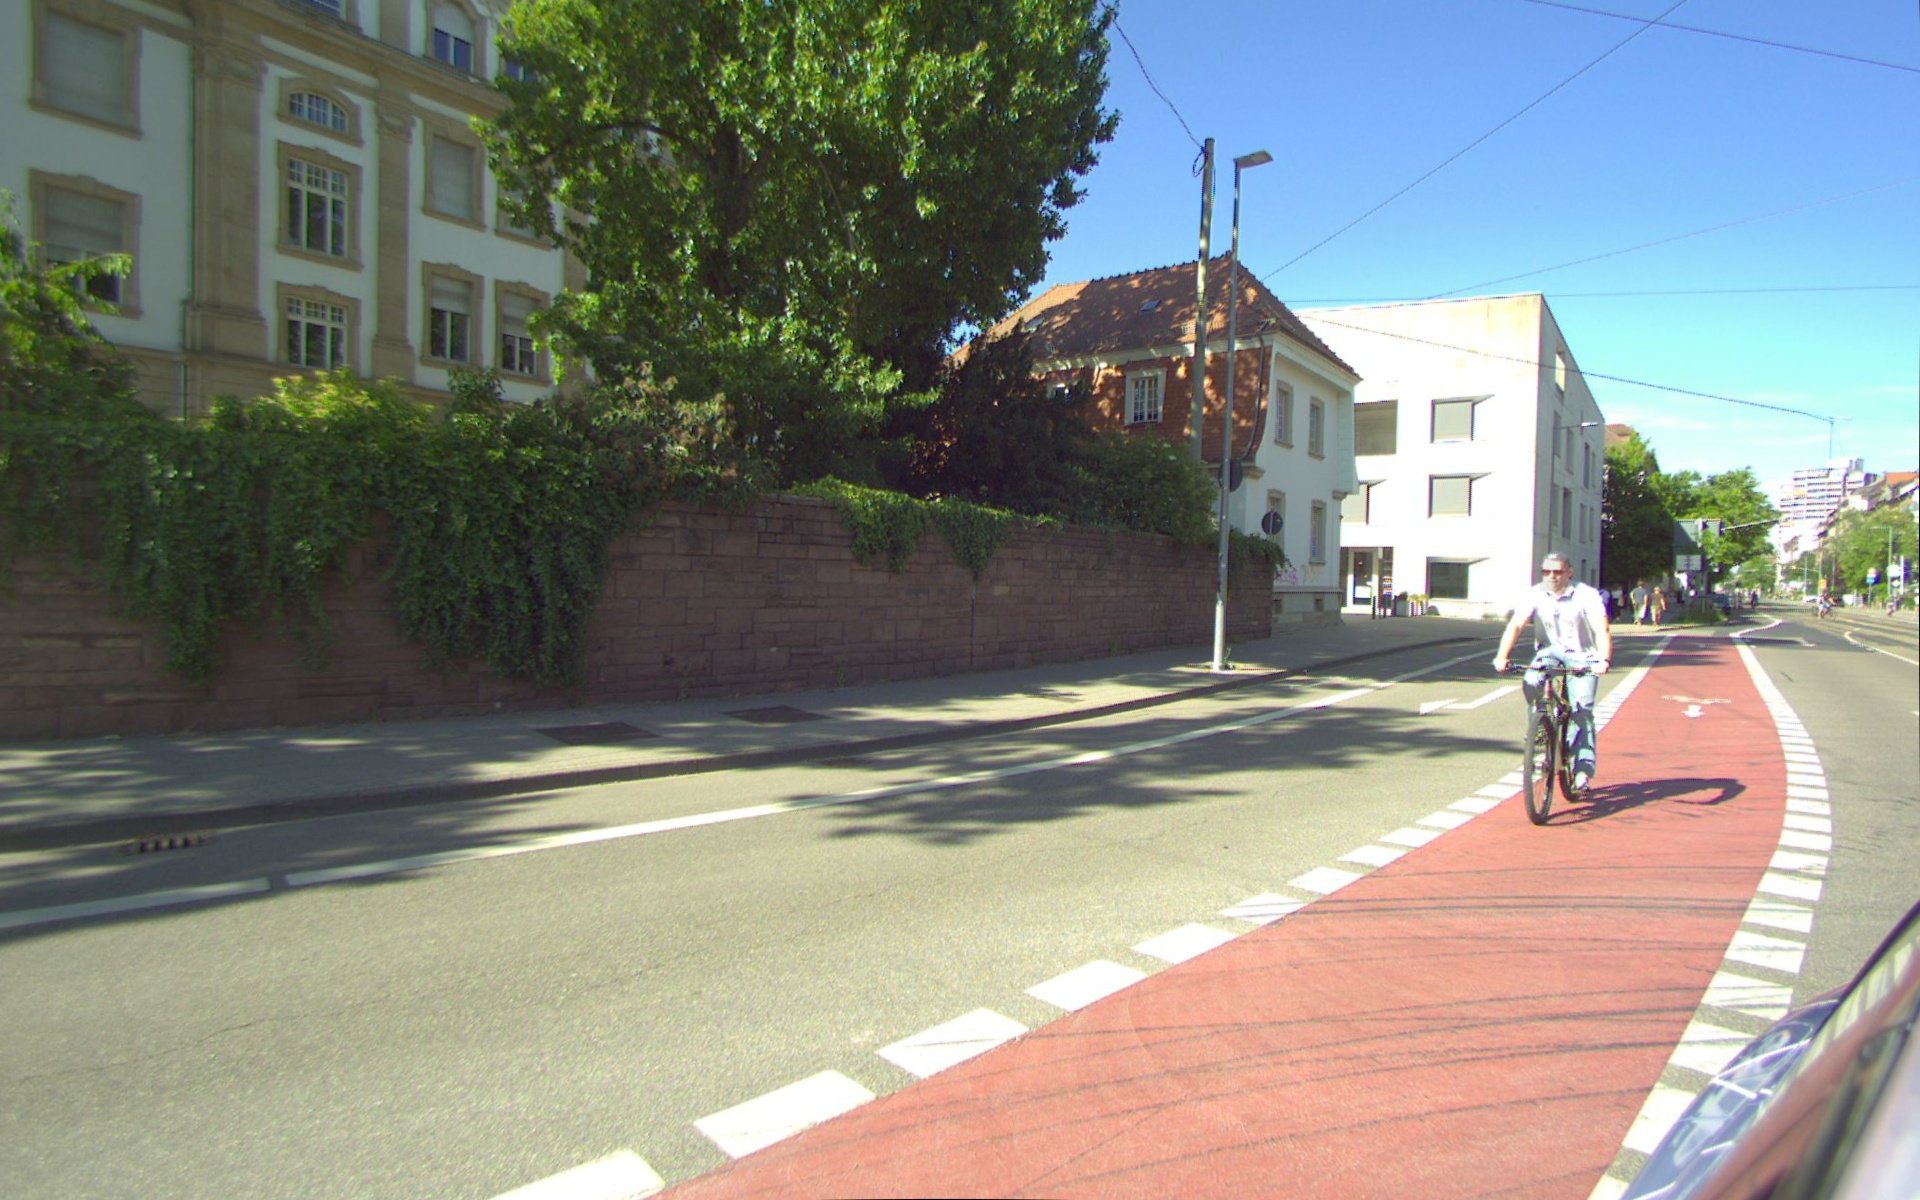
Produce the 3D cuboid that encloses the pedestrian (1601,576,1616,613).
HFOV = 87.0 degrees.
[{"bbox_3d":[32.040,-0.270,49.998,0.585,1.828,0.538,2,1,37],"label":"pedestrian"}]

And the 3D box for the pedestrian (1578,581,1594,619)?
[{"bbox_3d":[27.218,-0.005,43.987,0.531,1.586,0.513,2,1,37],"label":"pedestrian"}]

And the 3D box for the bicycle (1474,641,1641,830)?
[{"bbox_3d":[4.298,0.888,7.218,0.611,1.090,1.801,1,1,44],"label":"bicycle"}]

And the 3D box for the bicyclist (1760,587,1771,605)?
[{"bbox_3d":[66.940,-0.327,84.082,0.663,1.480,0.613,0,1,42],"label":"bicyclist"}]

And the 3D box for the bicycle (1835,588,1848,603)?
[{"bbox_3d":[101.701,-0.547,116.795,0.998,1.702,2.944,0,1,38],"label":"bicycle"}]

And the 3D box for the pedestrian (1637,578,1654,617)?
[{"bbox_3d":[32.187,-0.128,47.535,0.585,1.828,0.575,2,1,37],"label":"pedestrian"}]

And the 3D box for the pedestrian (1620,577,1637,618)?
[{"bbox_3d":[30.406,-0.107,46.030,0.585,1.828,0.538,2,1,37],"label":"pedestrian"}]

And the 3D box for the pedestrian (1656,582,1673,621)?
[{"bbox_3d":[31.648,0.069,45.458,0.585,1.749,0.513,2,1,37],"label":"pedestrian"}]

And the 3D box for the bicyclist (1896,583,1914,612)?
[{"bbox_3d":[75.519,-0.178,80.848,0.999,2.296,1.006,0,1,41],"label":"bicyclist"}]

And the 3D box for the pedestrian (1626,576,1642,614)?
[{"bbox_3d":[32.894,-0.262,49.413,0.585,1.828,0.538,2,1,37],"label":"pedestrian"}]

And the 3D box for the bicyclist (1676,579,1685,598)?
[{"bbox_3d":[82.982,-1.324,116.504,0.809,2.234,0.970,0,1,40],"label":"bicyclist"}]

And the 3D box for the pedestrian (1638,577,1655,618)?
[{"bbox_3d":[30.953,-0.101,45.616,0.585,1.828,0.513,2,1,37],"label":"pedestrian"}]

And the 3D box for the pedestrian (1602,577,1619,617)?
[{"bbox_3d":[29.946,-0.145,46.579,0.585,1.828,0.538,2,1,37],"label":"pedestrian"}]

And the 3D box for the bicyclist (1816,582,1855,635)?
[{"bbox_3d":[50.274,0.474,58.113,0.986,3.012,1.473,0,1,2],"label":"bicyclist"}]

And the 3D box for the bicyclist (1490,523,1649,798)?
[{"bbox_3d":[4.367,0.386,7.242,0.750,1.798,0.998,1,1,45],"label":"bicyclist"}]

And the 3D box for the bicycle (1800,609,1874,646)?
[{"bbox_3d":[50.276,1.539,58.088,0.985,1.910,3.892,0,1,2],"label":"bicycle"}]

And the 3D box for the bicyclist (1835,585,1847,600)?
[{"bbox_3d":[101.693,-0.850,116.790,0.998,1.743,0.971,0,1,38],"label":"bicyclist"}]

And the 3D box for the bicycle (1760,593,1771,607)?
[{"bbox_3d":[66.955,-0.015,84.099,0.663,1.166,1.647,0,1,42],"label":"bicycle"}]

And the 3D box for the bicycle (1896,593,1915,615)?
[{"bbox_3d":[75.512,0.308,80.844,0.999,1.702,2.941,0,1,40],"label":"bicycle"}]

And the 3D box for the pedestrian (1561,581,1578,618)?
[{"bbox_3d":[26.777,-0.017,44.452,0.531,1.586,0.513,2,1,37],"label":"pedestrian"}]

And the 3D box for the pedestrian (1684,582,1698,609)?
[{"bbox_3d":[48.980,-0.297,67.797,0.676,1.760,0.918,2,1,40],"label":"pedestrian"}]
